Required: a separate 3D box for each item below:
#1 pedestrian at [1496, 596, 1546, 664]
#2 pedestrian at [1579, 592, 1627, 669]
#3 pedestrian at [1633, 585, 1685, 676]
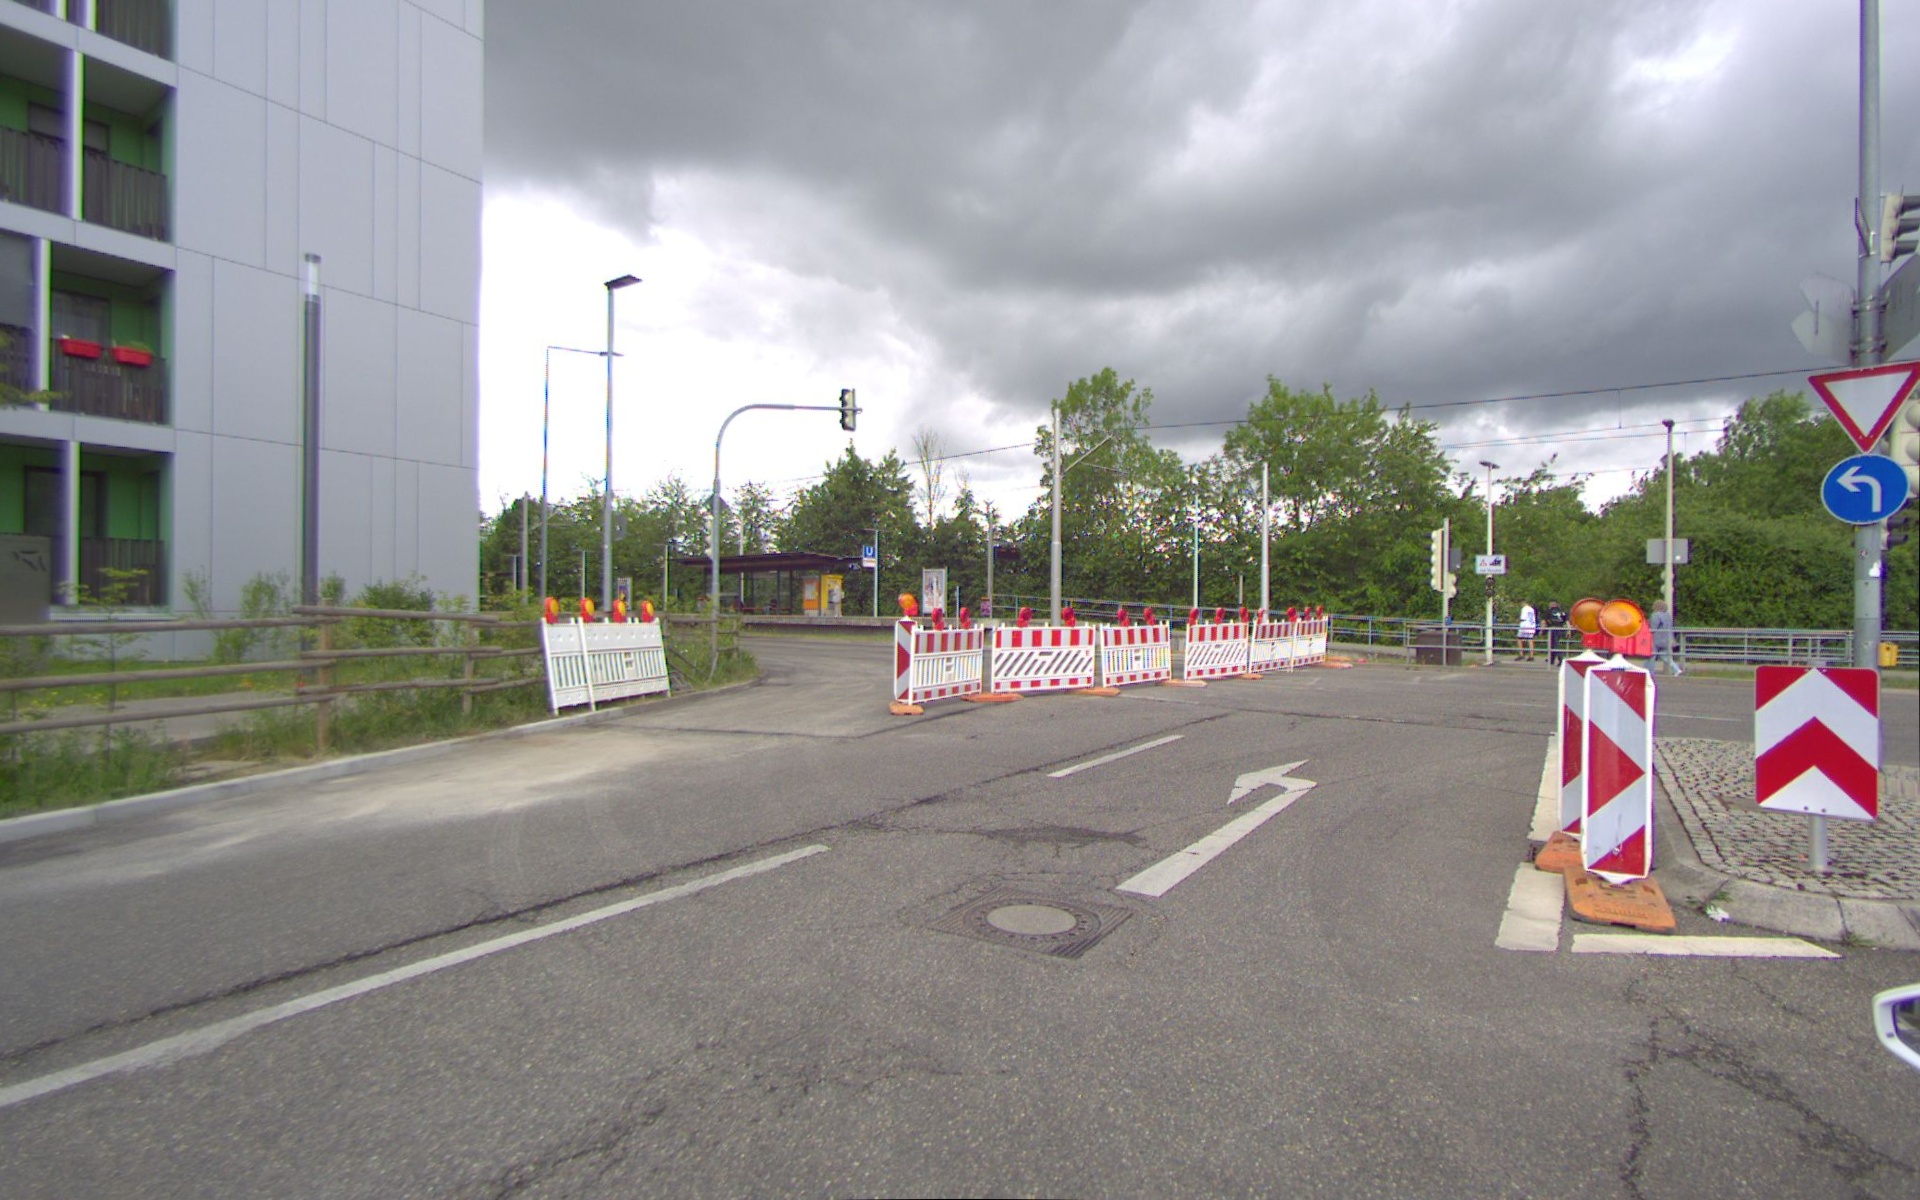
[{"bbox_3d":[14.987,0.789,26.854,0.709,1.771,0.956,1,0,-7],"label":"pedestrian"},{"bbox_3d":[14.032,0.650,21.920,0.712,1.643,0.800,1,0,44],"label":"pedestrian"},{"bbox_3d":[14.137,0.602,20.313,0.712,1.771,0.951,1,0,44],"label":"pedestrian"}]
